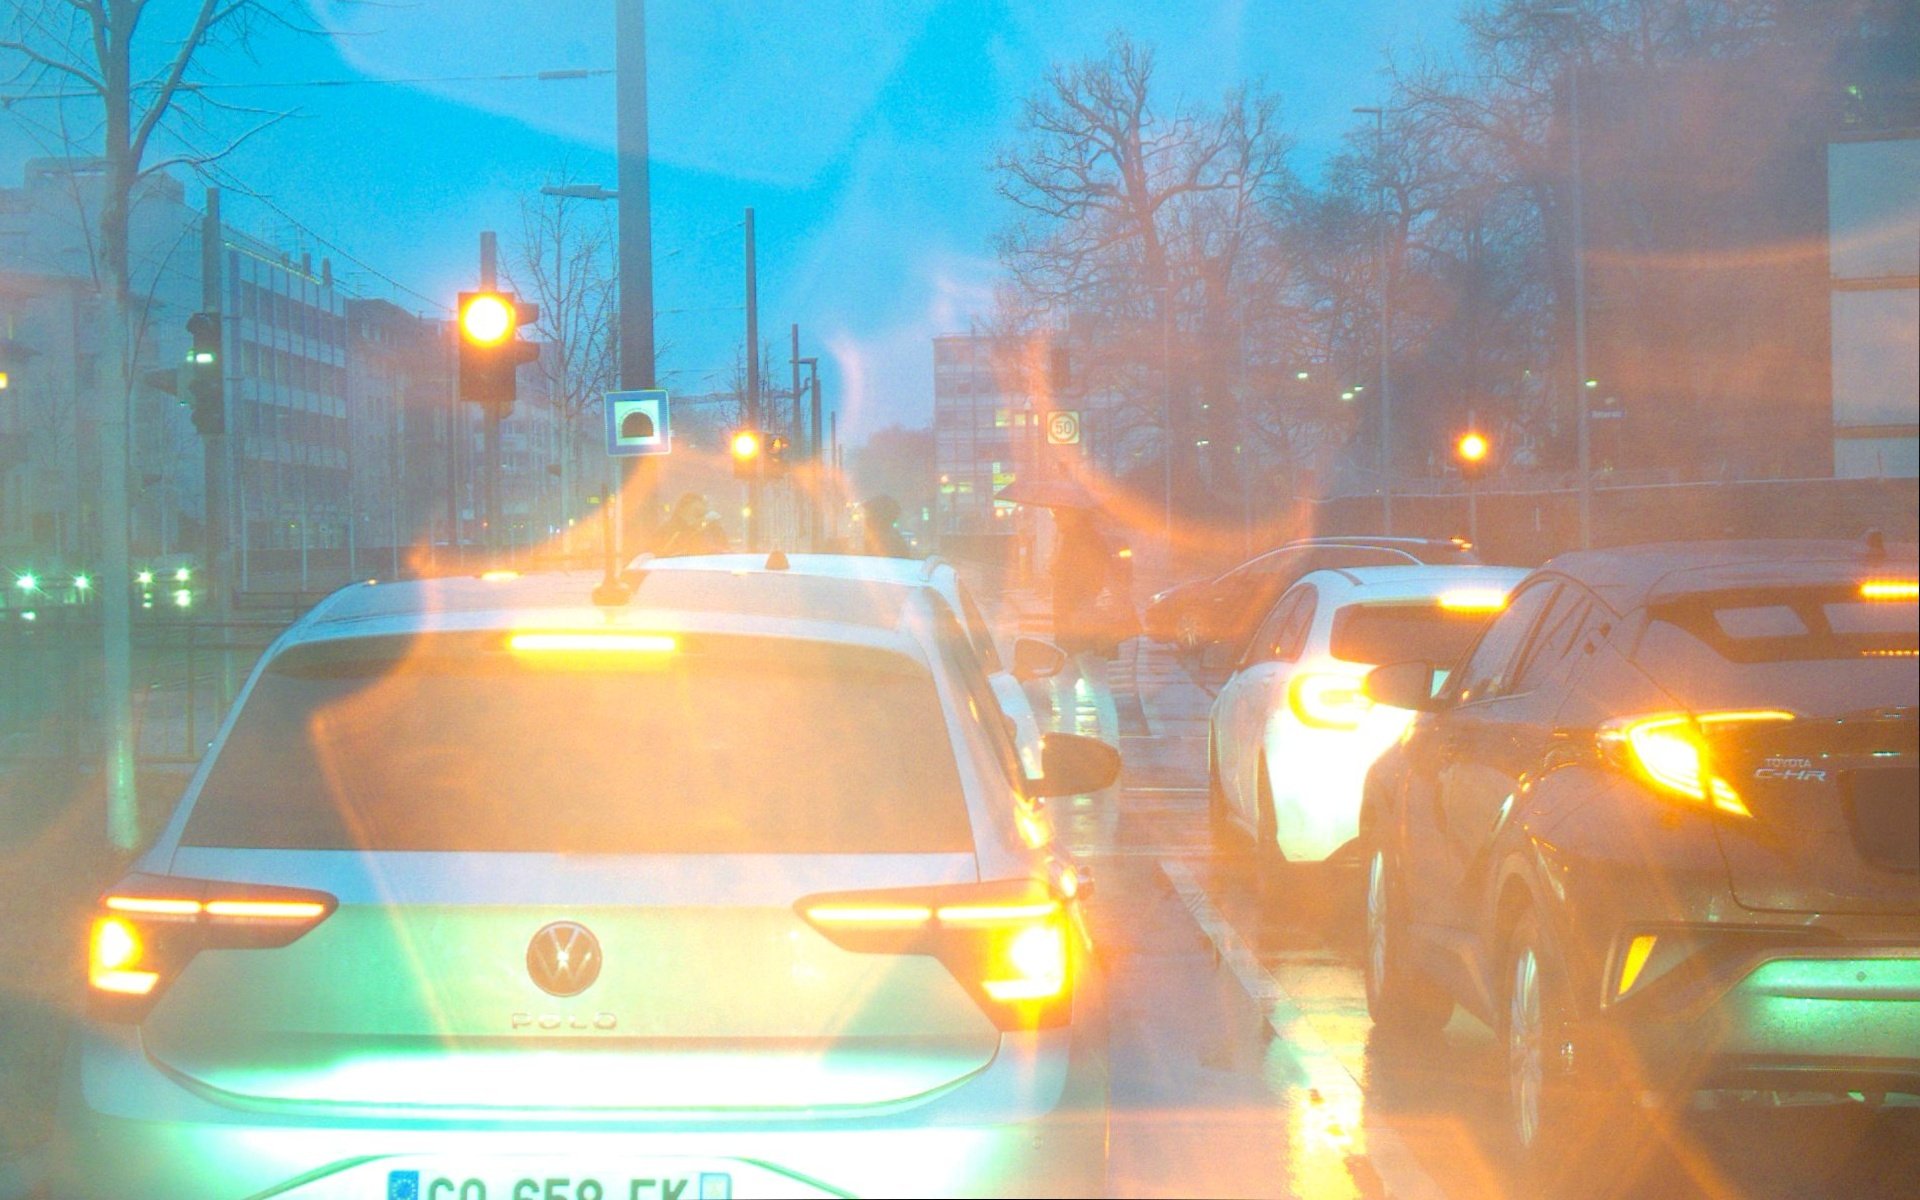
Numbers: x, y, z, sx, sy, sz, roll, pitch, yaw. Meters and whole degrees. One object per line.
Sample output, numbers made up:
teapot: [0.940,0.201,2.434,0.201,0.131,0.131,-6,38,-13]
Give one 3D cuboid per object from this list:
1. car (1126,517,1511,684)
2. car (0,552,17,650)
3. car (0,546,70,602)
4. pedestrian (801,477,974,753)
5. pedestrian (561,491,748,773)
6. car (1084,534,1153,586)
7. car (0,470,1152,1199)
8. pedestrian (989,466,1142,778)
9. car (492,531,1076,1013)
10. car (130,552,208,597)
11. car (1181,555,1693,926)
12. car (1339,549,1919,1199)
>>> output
car: [4.433,-0.024,42.633,4.279,1.937,1.997,1,1,30]
car: [-16.678,0.020,55.271,1.993,1.597,4.000,1,1,-1]
car: [-27.814,-0.782,101.670,1.950,1.597,4.000,1,1,0]
pedestrian: [-0.549,0.095,25.766,0.958,2.007,1.008,-1,1,-23]
pedestrian: [-2.239,0.217,25.183,1.004,2.007,0.962,-2,1,-32]
car: [4.519,-1.159,98.302,1.737,1.415,3.703,-1,1,0]
car: [-0.646,0.536,6.972,1.693,1.528,4.001,0,1,-2]
pedestrian: [0.700,0.132,22.738,0.959,2.007,1.007,-1,1,2]
car: [-0.563,0.493,13.046,1.799,1.461,4.586,-1,1,0]
car: [-29.065,-0.947,126.451,1.950,1.597,4.000,1,1,0]
car: [1.997,0.528,15.395,1.745,1.428,3.731,1,1,0]
car: [2.122,0.634,8.953,1.800,1.505,3.895,-1,1,0]
